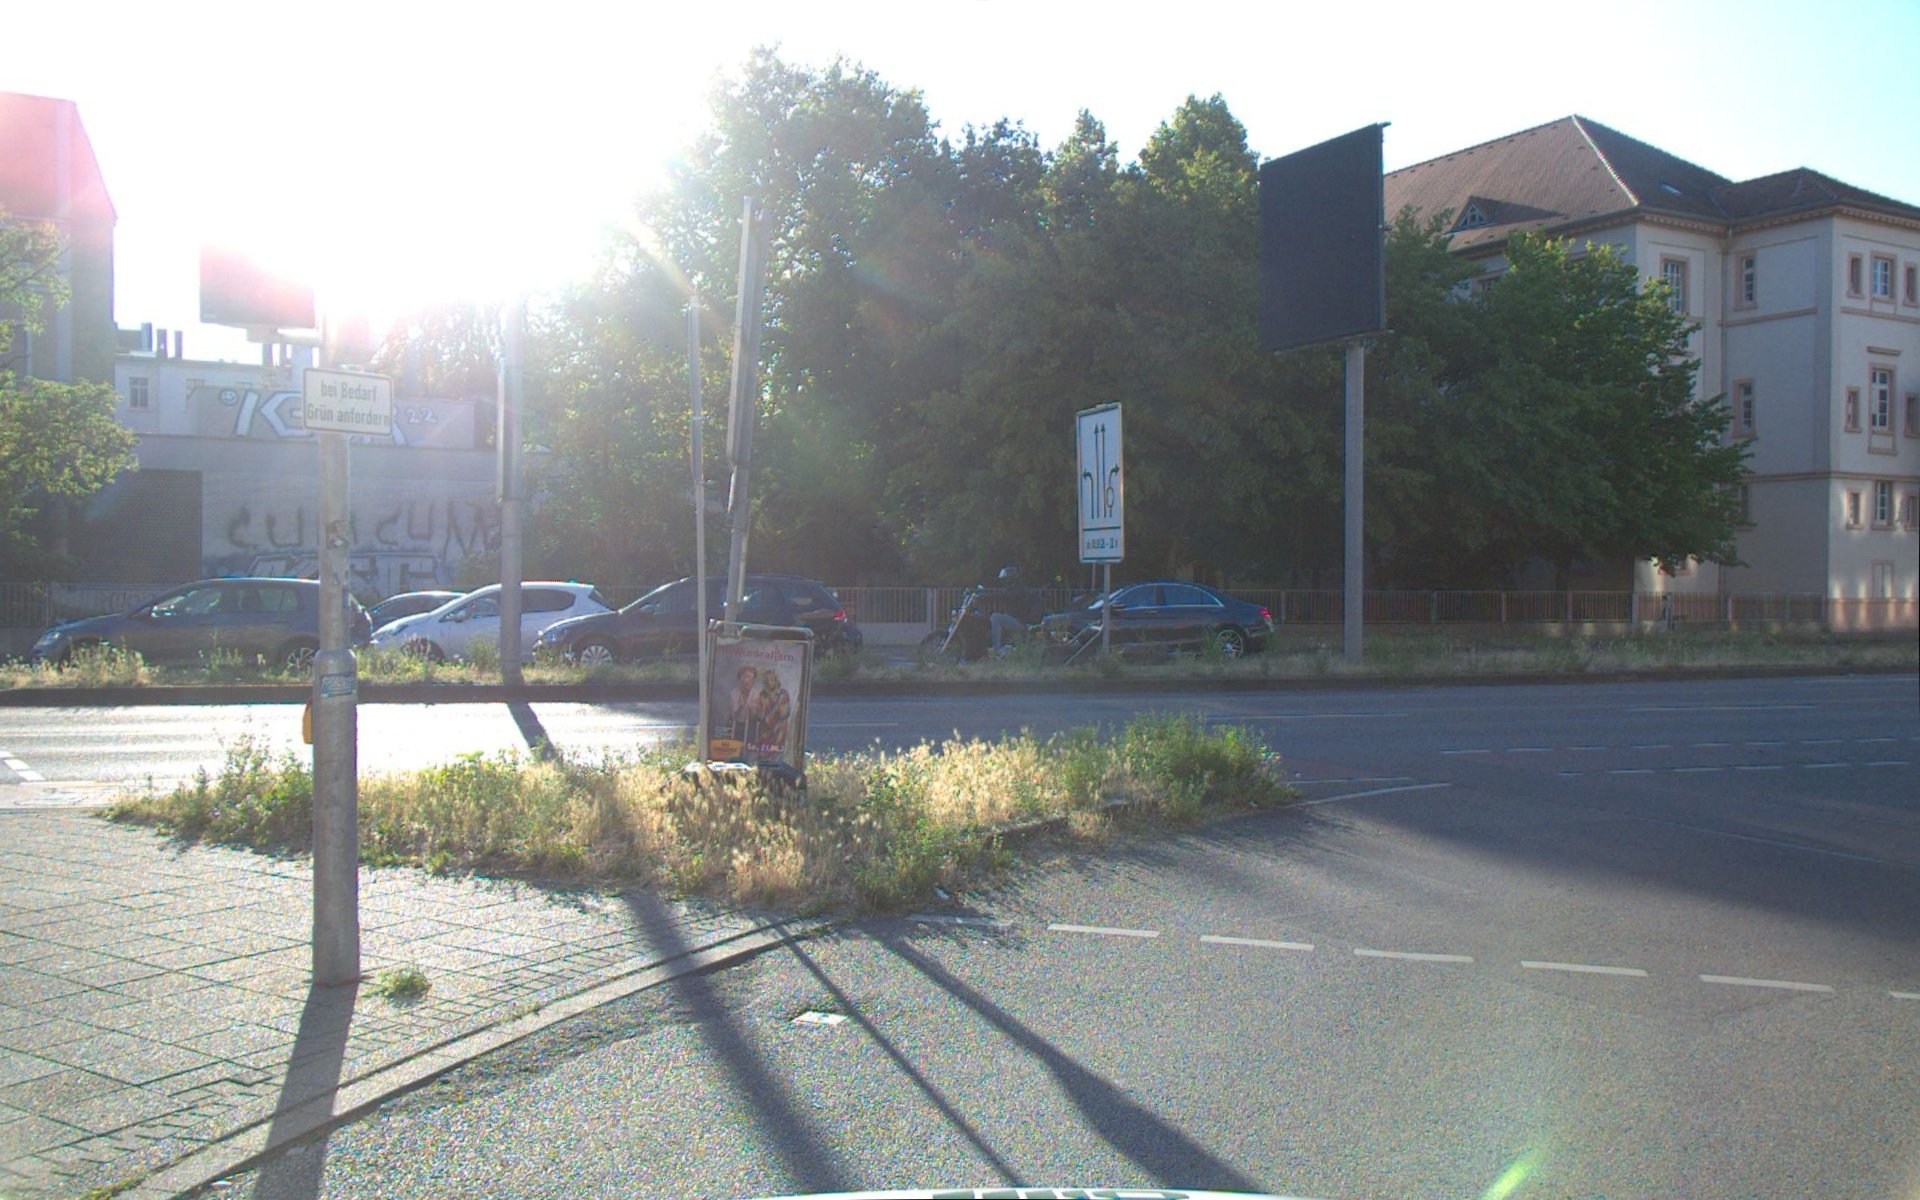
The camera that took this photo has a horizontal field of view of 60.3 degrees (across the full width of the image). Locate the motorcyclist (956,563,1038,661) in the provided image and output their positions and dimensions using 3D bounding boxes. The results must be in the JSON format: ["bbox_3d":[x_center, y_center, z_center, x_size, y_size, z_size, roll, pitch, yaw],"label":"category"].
[{"bbox_3d":[0.540,0.170,24.542,1.040,1.422,0.851,0,0,-14],"label":"motorcyclist"}]

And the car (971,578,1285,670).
[{"bbox_3d":[2.954,0.384,29.093,5.197,1.522,1.988,0,0,-21],"label":"car"}]

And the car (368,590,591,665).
[{"bbox_3d":[-8.748,0.473,30.286,3.819,1.319,1.717,0,0,-16],"label":"car"}]

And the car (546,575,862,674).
[{"bbox_3d":[-3.645,0.309,23.424,4.289,1.319,1.718,0,0,-14],"label":"car"}]

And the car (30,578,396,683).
[{"bbox_3d":[-9.808,0.372,22.045,4.161,1.319,1.719,0,0,-13],"label":"car"}]

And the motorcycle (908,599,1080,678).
[{"bbox_3d":[0.501,0.550,24.535,2.420,1.127,0.858,0,0,-15],"label":"motorcycle"}]

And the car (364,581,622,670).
[{"bbox_3d":[-7.395,0.377,26.354,3.819,1.342,1.717,0,0,-16],"label":"car"}]

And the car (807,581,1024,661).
[{"bbox_3d":[-0.894,0.376,32.711,3.930,1.489,1.848,0,1,-21],"label":"car"}]
